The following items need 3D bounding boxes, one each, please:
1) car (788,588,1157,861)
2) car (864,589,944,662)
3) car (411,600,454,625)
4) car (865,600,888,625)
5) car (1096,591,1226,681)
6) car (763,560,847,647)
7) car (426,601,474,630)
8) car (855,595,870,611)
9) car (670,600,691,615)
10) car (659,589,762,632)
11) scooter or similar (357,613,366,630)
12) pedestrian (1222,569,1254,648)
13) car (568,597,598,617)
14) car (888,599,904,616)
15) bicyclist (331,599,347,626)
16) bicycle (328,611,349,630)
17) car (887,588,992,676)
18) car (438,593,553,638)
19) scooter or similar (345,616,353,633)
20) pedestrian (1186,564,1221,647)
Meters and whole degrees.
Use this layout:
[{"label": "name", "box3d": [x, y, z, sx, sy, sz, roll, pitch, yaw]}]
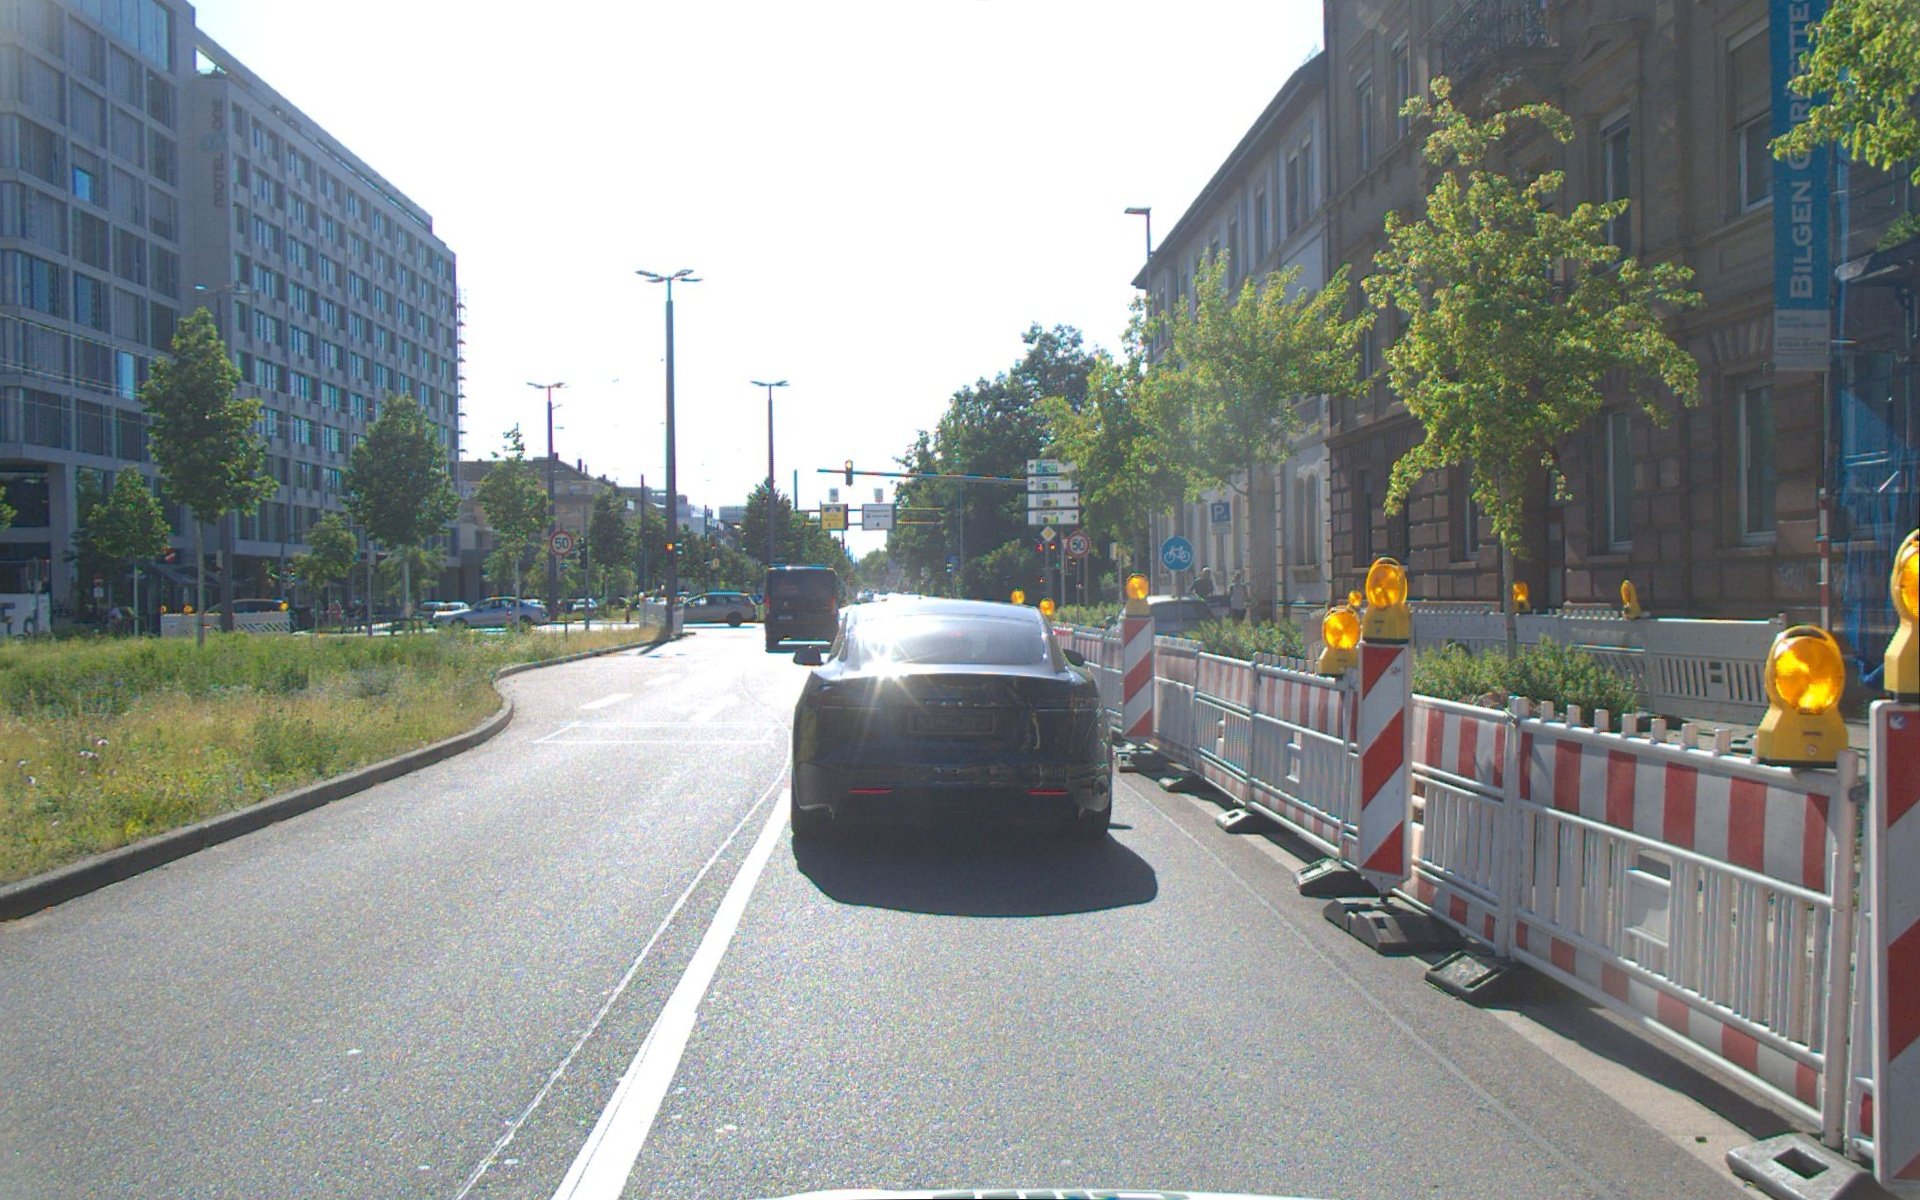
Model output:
[{"label": "car", "box3d": [-0.028, 0.675, 11.355, 2.010, 1.469, 4.522, 1, 0, -3]}, {"label": "car", "box3d": [-1.270, 0.537, 37.845, 1.714, 1.554, 4.003, 1, 0, -2]}, {"label": "car", "box3d": [-36.182, 0.854, 113.477, 1.754, 1.680, 3.998, -1, 0, -2]}, {"label": "car", "box3d": [-6.586, 1.010, 129.881, 1.756, 1.906, 3.847, 1, 0, -4]}, {"label": "car", "box3d": [3.738, 0.616, 31.486, 1.615, 1.501, 4.698, -3, 0, -3]}, {"label": "car", "box3d": [-4.347, 0.063, 46.928, 2.174, 2.307, 4.481, 1, 0, -4]}, {"label": "car", "box3d": [-30.691, 0.925, 99.701, 1.754, 1.680, 3.998, -1, 0, -2]}, {"label": "car", "box3d": [-11.597, 0.379, 196.946, 1.756, 1.906, 3.847, 1, 0, -4]}, {"label": "car", "box3d": [-31.020, 0.837, 183.634, 1.772, 1.680, 3.998, -1, 0, -2]}, {"label": "car", "box3d": [-11.011, 0.463, 73.220, 4.425, 1.824, 1.997, 0, 0, -6]}, {"label": "scooter or similar", "box3d": [-33.154, 1.197, 91.572, 0.224, 0.964, 0.767, -1, 0, -2]}, {"label": "pedestrian", "box3d": [6.672, 0.209, 39.769, 0.551, 1.852, 0.587, -3, 0, -3]}, {"label": "car", "box3d": [-32.331, 0.618, 142.054, 1.754, 1.680, 3.998, -1, 0, -2]}, {"label": "car", "box3d": [-7.528, 0.870, 193.558, 1.756, 1.906, 3.847, 1, 0, -4]}, {"label": "bicyclist", "box3d": [-36.893, 0.735, 98.297, 0.581, 1.608, 0.892, 1, -1, 1]}, {"label": "bicycle", "box3d": [-36.814, 1.198, 98.023, 0.574, 1.119, 1.623, 1, -1, 1]}, {"label": "car", "box3d": [-0.445, 0.524, 29.890, 1.713, 1.452, 4.836, 0, 0, -3]}, {"label": "car", "box3d": [-19.877, 0.646, 70.751, 4.459, 1.824, 1.983, -1, 0, -27]}, {"label": "scooter or similar", "box3d": [-33.896, 1.366, 91.766, 0.280, 0.964, 0.765, 0, 0, -10]}, {"label": "pedestrian", "box3d": [5.847, 0.135, 39.755, 0.645, 1.946, 0.587, -3, 0, -3]}]
